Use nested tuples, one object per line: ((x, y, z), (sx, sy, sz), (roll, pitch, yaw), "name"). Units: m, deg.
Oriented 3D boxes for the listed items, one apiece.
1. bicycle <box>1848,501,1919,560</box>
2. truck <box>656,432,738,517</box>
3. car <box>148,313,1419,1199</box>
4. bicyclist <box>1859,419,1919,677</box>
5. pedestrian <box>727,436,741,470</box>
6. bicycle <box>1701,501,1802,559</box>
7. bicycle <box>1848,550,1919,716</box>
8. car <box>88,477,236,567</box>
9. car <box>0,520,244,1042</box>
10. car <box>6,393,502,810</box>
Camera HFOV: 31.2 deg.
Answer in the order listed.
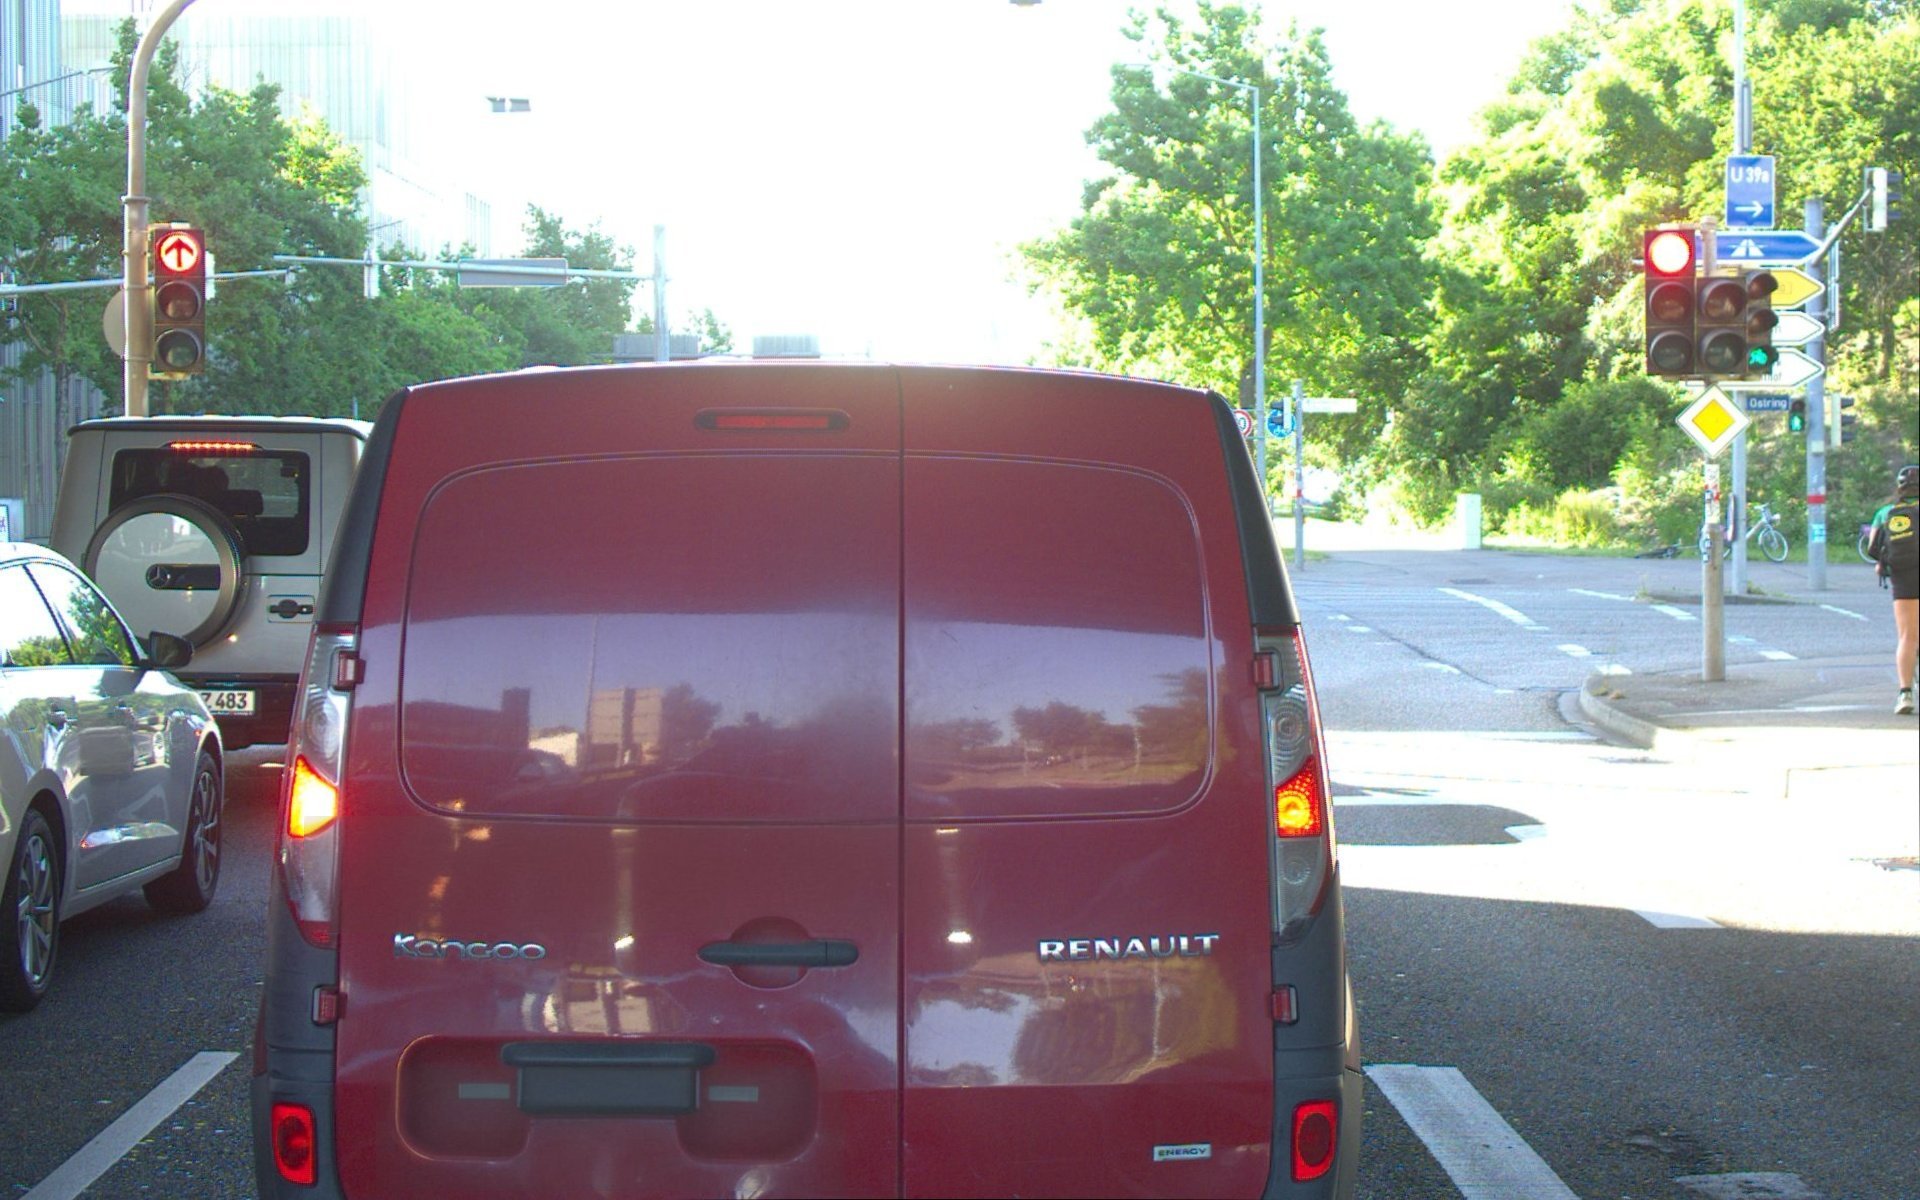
((16.665, -1.222, 60.919), (1.745, 1.020, 0.593), (1, 0, 9), "bicycle")
((-9.790, -4.666, 128.604), (2.409, 3.016, 6.657), (-2, 2, 0), "truck")
((-0.278, 0.476, 6.930), (1.805, 1.788, 4.000), (1, 1, -1), "car")
((6.169, -0.327, 21.915), (0.591, 1.608, 0.942), (1, 0, -1), "bicyclist")
((-13.687, -8.902, 208.053), (0.740, 2.007, 0.637), (1, 0, 3), "pedestrian")
((14.355, -1.269, 62.381), (1.745, 1.020, 0.593), (1, 0, 9), "bicycle")
((6.171, 0.198, 21.812), (0.591, 1.020, 1.750), (1, 1, -1), "bicycle")
((-16.580, -1.644, 71.622), (1.825, 1.731, 4.629), (-2, 2, 1), "car")
((-3.644, 0.470, 11.413), (1.813, 1.433, 3.731), (0, 2, -1), "car")
((-3.708, -0.016, 18.854), (1.801, 1.982, 4.589), (1, 1, -1), "car")
